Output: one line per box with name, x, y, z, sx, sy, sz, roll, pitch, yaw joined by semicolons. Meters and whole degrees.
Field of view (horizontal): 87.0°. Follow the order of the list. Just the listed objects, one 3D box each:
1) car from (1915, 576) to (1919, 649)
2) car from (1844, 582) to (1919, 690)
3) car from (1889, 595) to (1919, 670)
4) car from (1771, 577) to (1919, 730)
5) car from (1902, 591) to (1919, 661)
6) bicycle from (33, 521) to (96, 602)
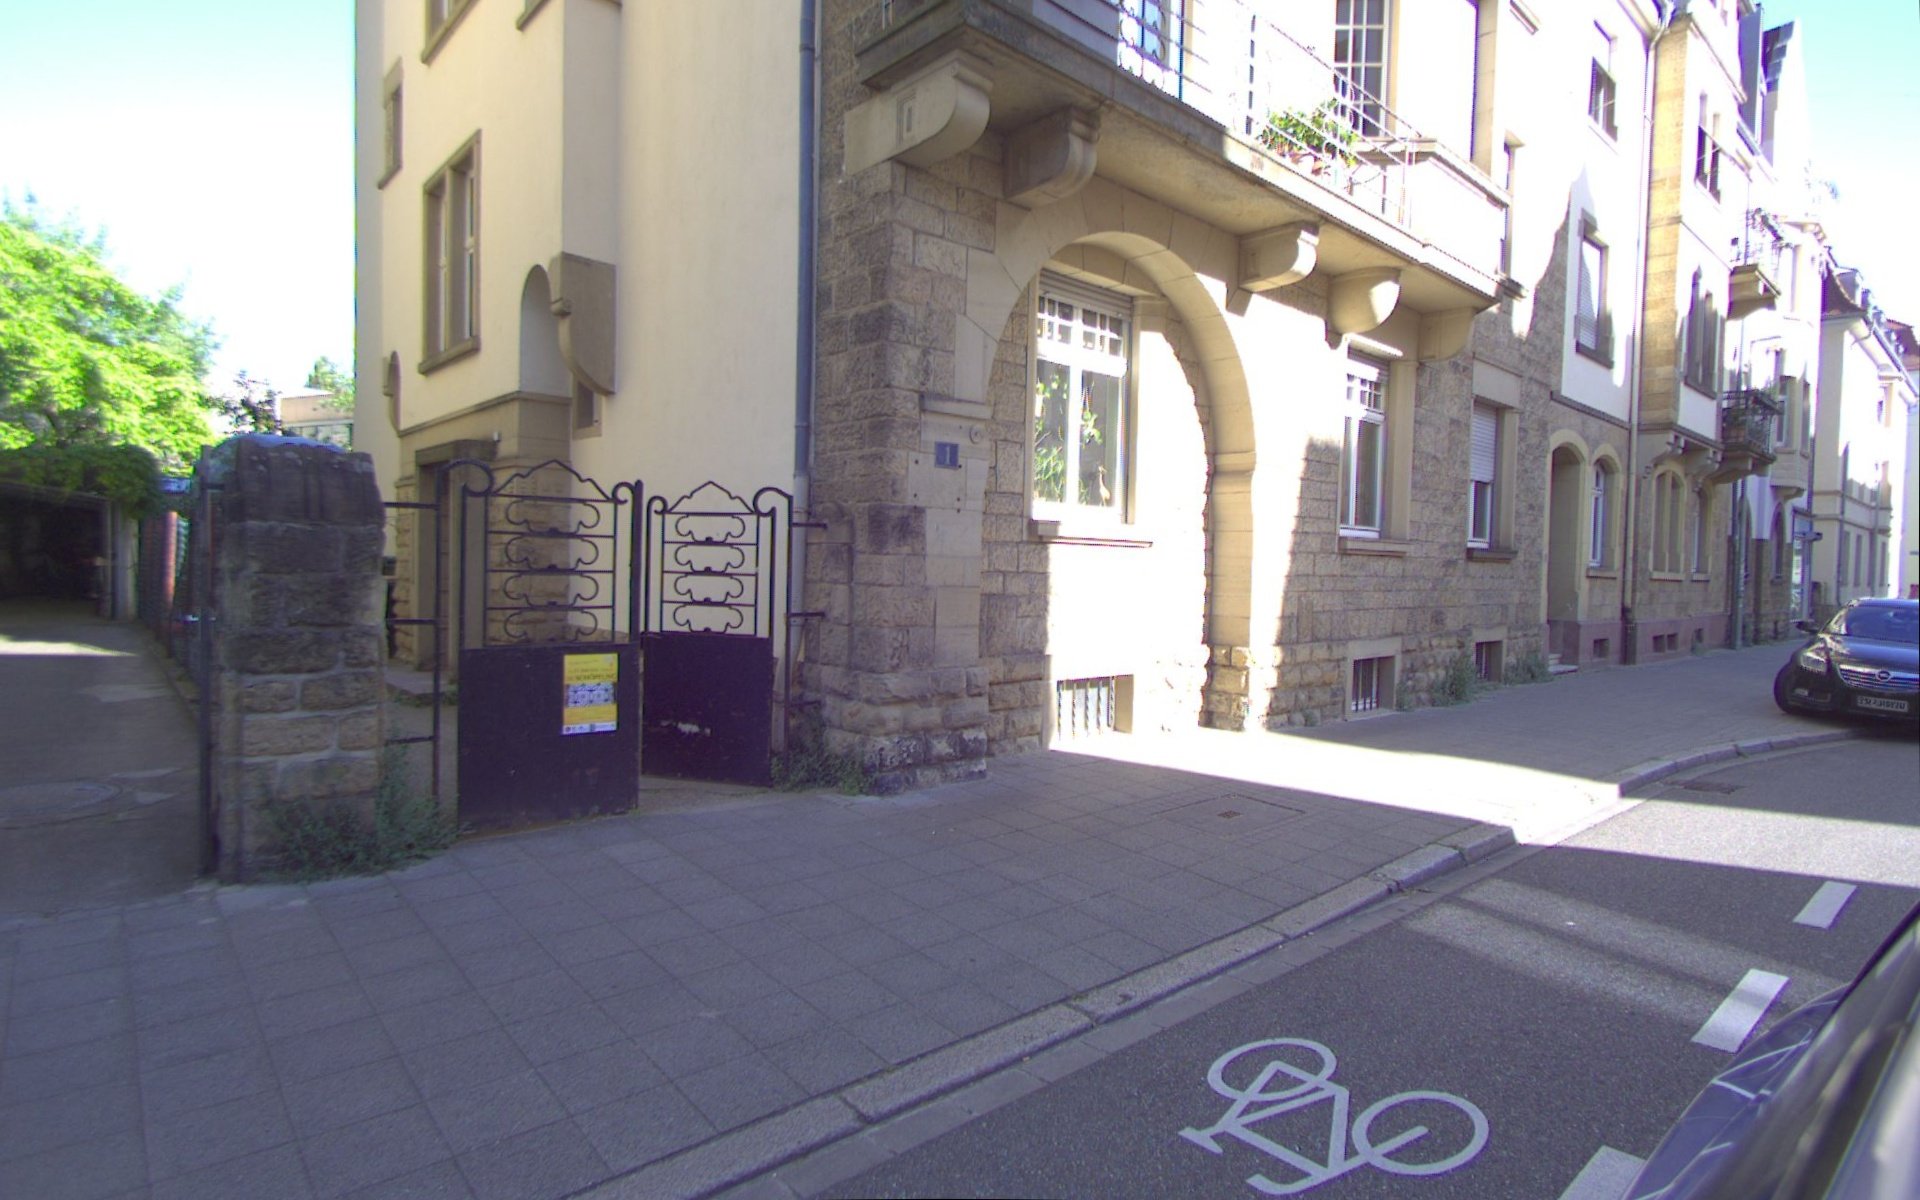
car;26.233;0.322;26.049;4.247;1.860;2.004;-1;4;-42
car;15.531;0.554;15.866;4.247;1.527;2.004;0;3;-42
car;18.794;0.607;18.970;3.667;1.295;1.659;-1;4;-42
car;11.491;0.559;12.173;4.043;1.526;2.023;-1;5;-42
car;22.171;0.569;22.192;4.247;1.440;1.823;-1;4;-42
bicycle;-18.302;-0.817;20.724;0.903;1.530;2.672;0;4;-41
